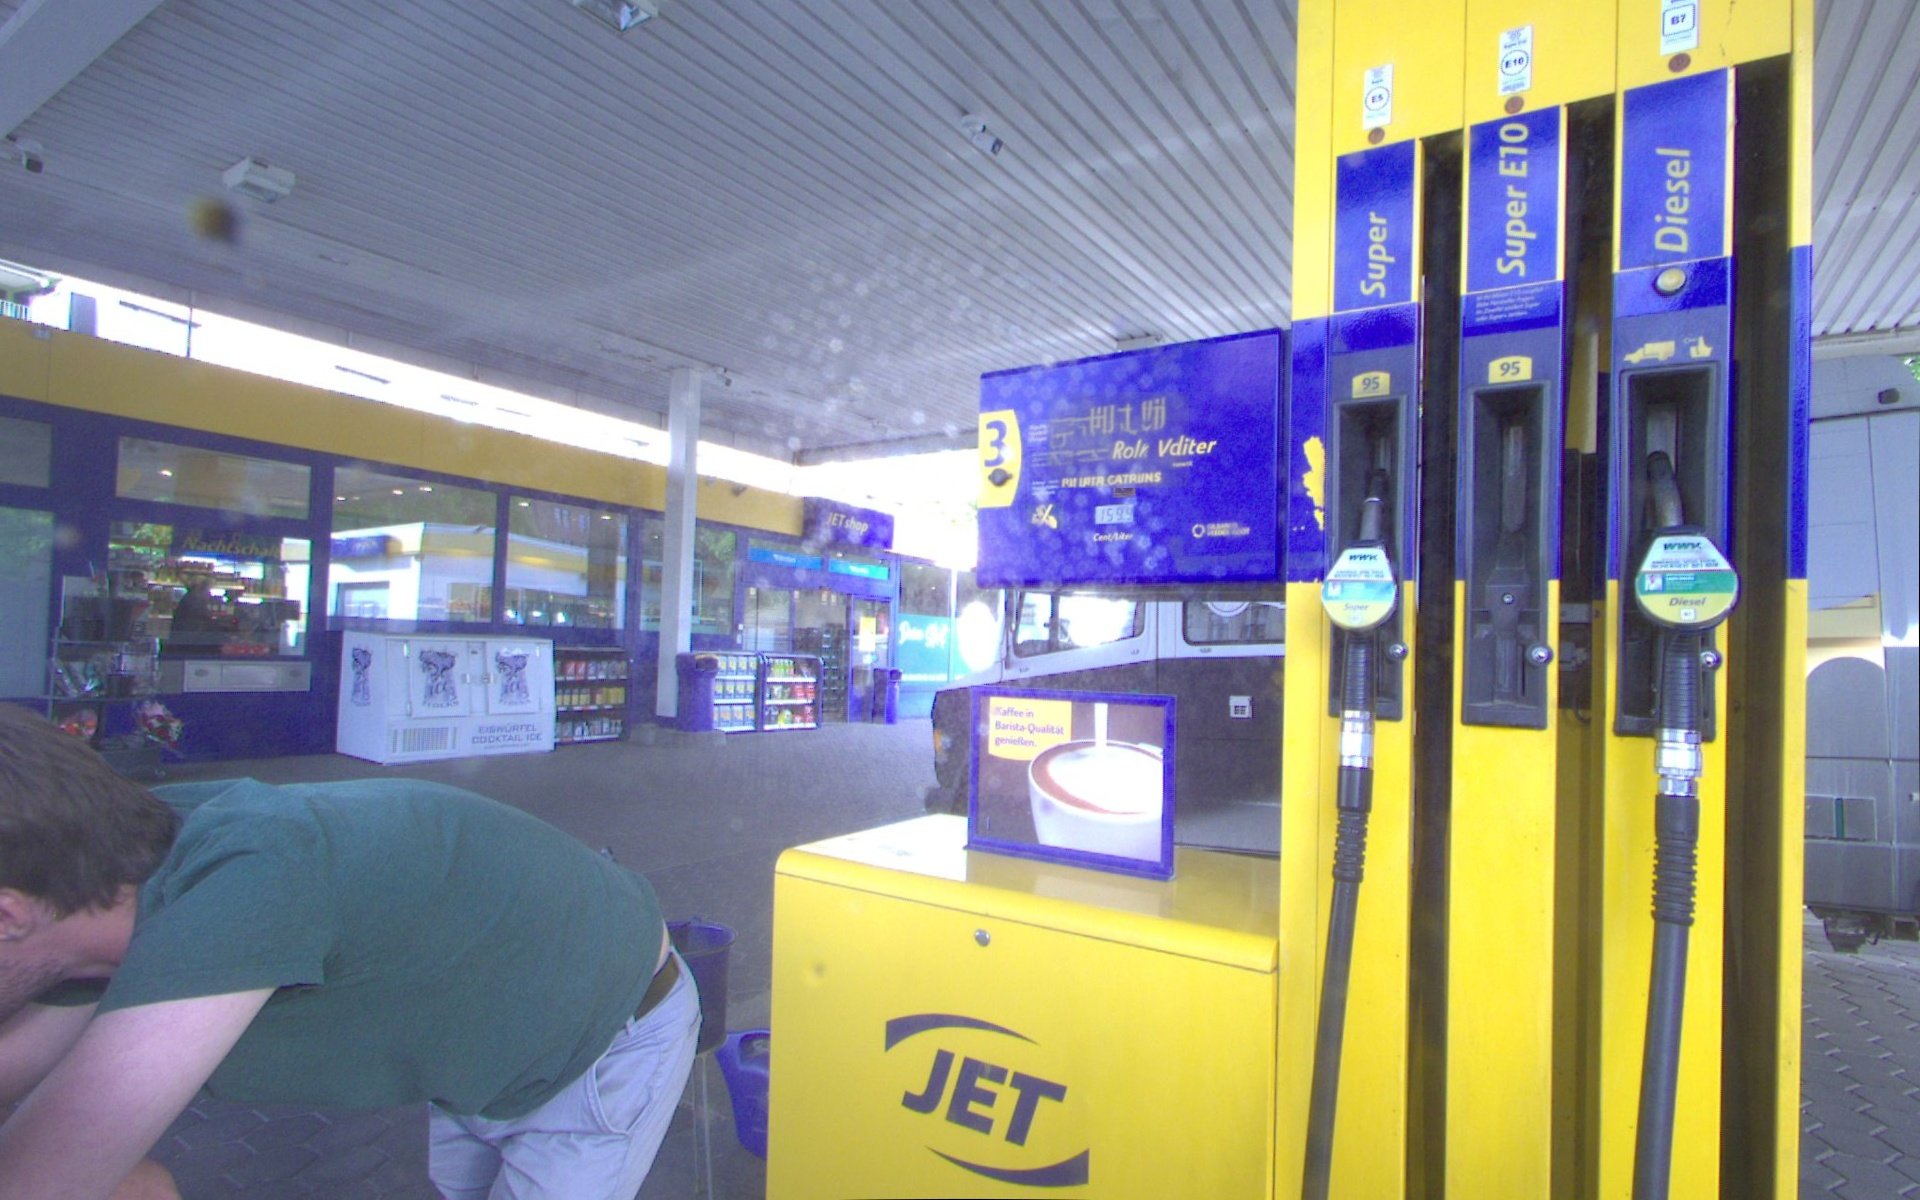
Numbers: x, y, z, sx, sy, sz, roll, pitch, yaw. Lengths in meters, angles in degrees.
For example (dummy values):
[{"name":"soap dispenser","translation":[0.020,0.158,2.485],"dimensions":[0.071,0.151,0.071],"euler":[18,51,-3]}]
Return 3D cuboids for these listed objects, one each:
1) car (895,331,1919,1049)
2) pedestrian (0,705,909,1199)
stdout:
[{"name":"car","translation":[2.388,0.400,6.020],"dimensions":[5.219,2.724,2.250],"euler":[0,-3,34]},{"name":"pedestrian","translation":[-0.536,0.796,1.076],"dimensions":[0.664,1.298,0.749],"euler":[-1,-1,31]}]
